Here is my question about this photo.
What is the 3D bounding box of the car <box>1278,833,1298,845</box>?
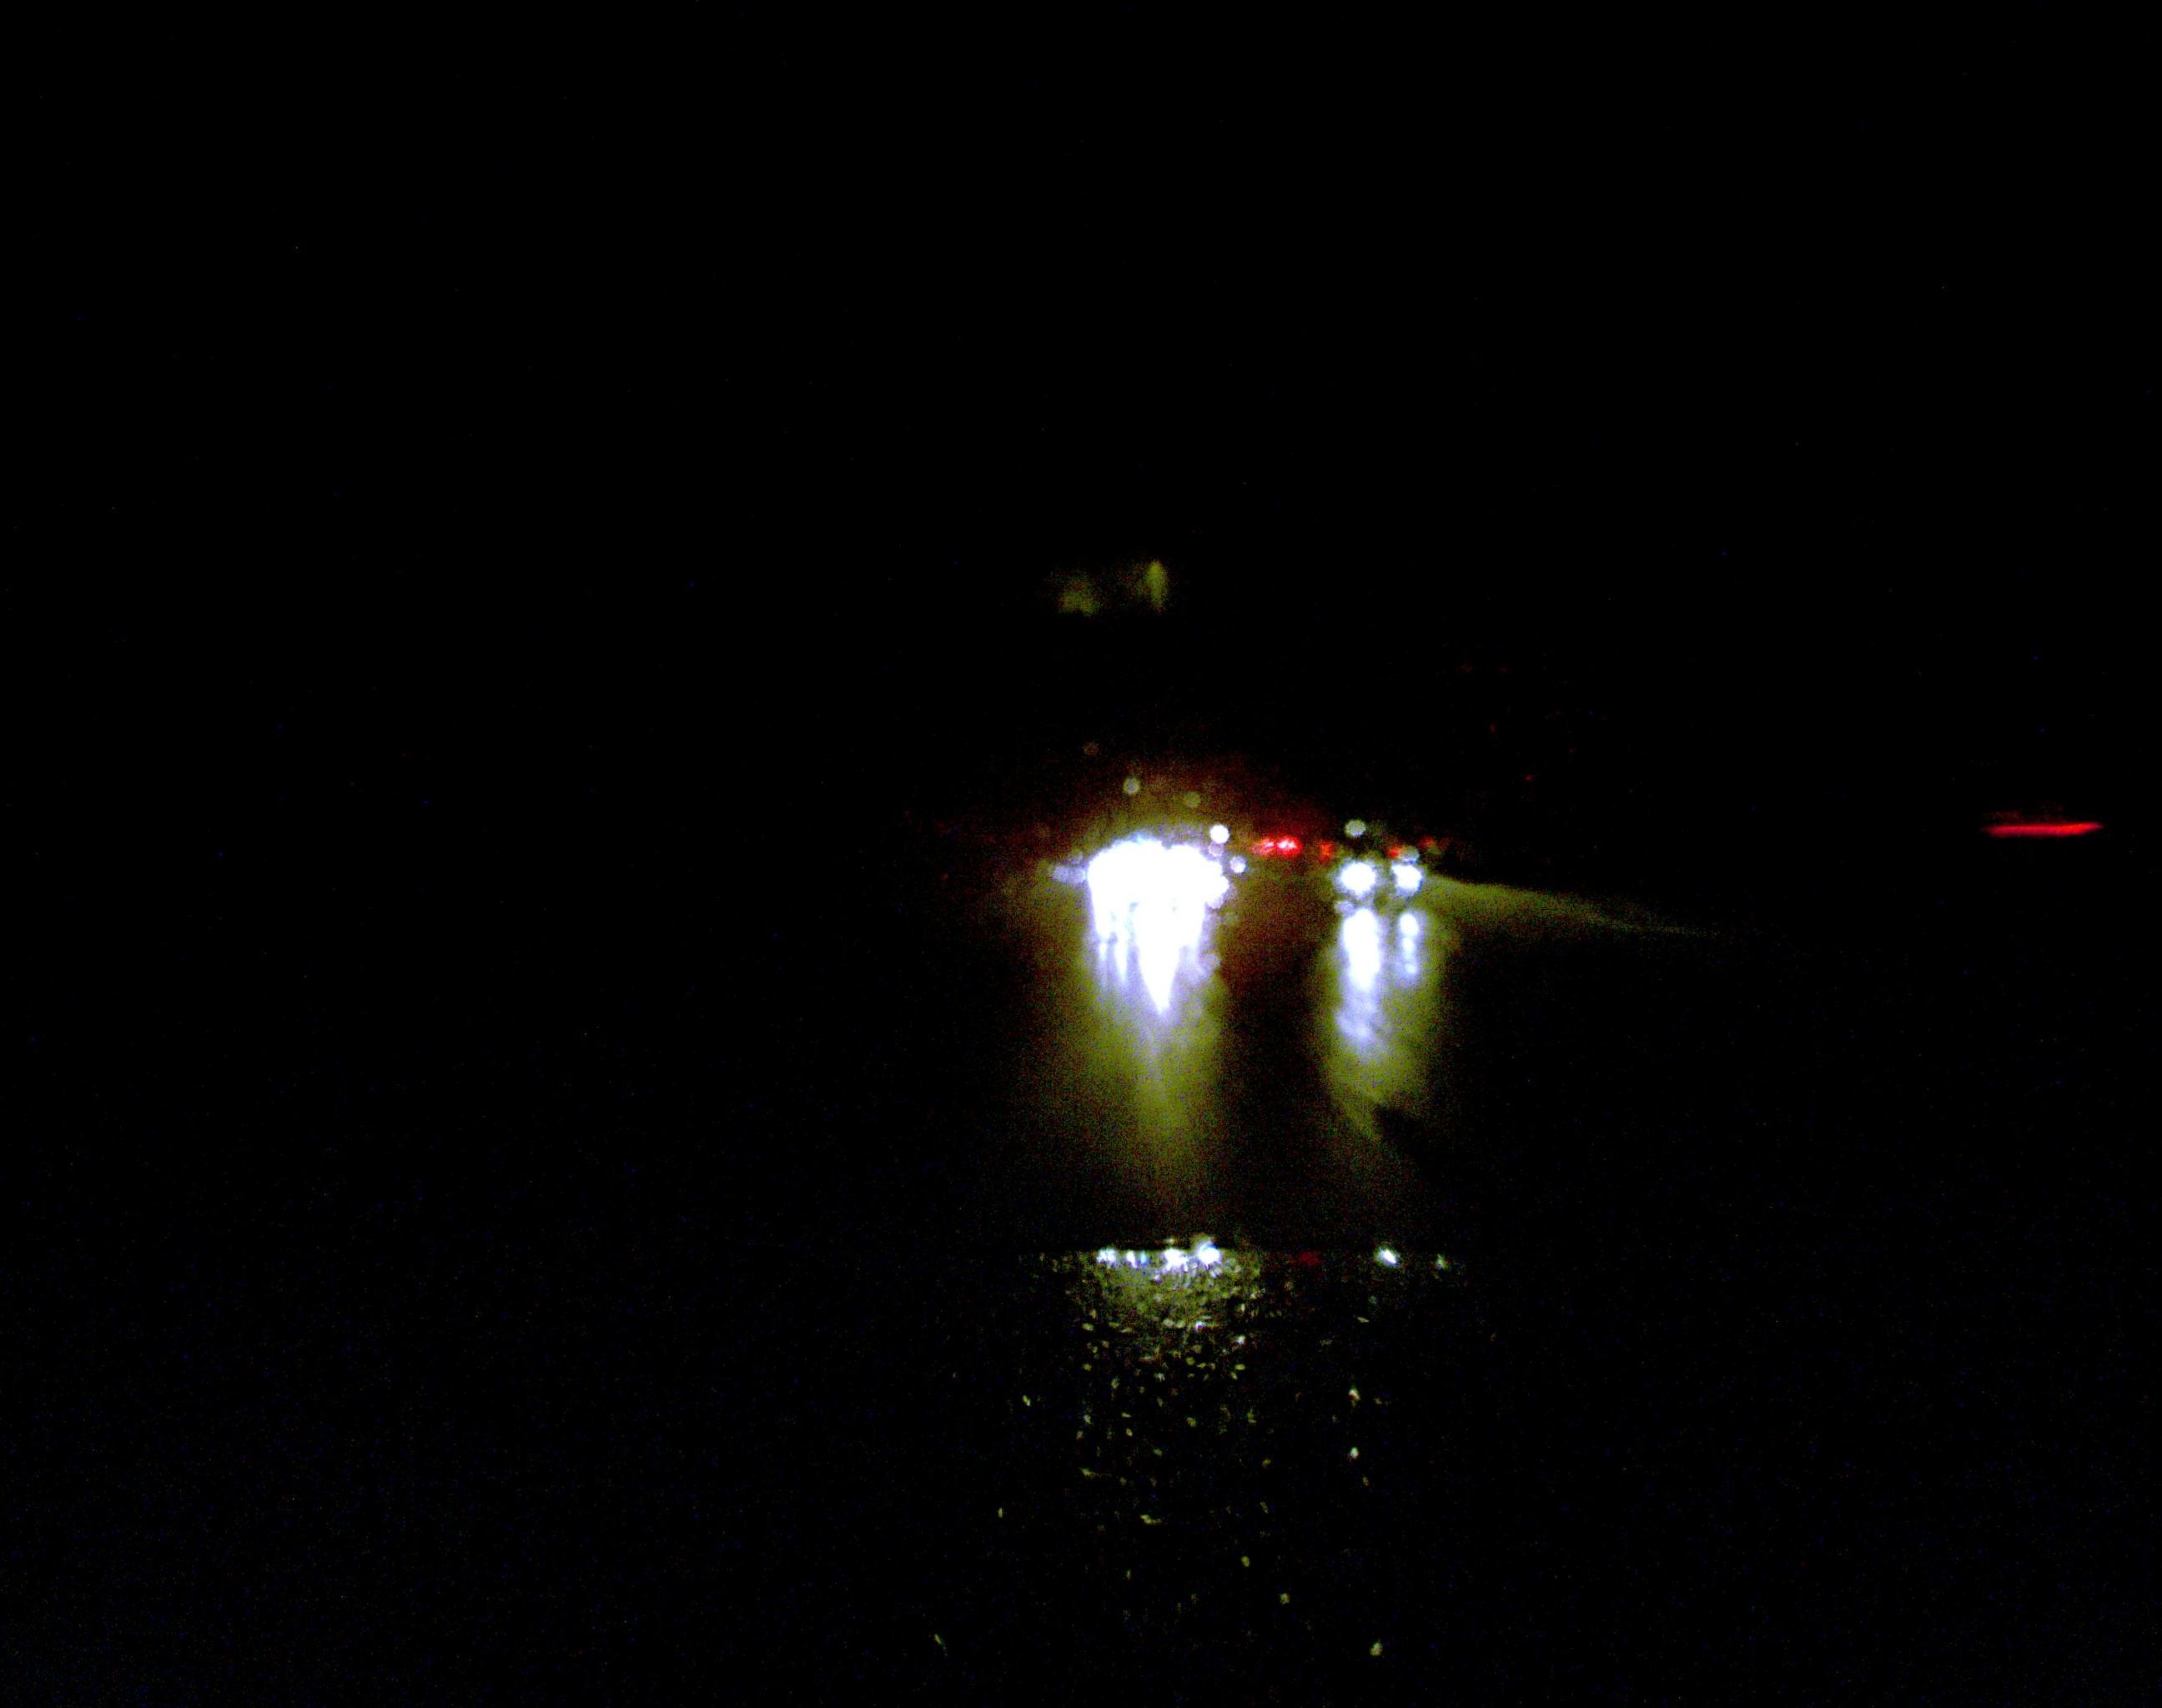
[{"bbox_3d":[29.572,-2.153,108.429,1.846,1.638,4.333,-3,1,3],"label":"car"}]

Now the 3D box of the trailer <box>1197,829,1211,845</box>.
[{"bbox_3d":[35.567,-4.821,220.221,3.362,4.149,11.724,-3,0,6],"label":"trailer"}]

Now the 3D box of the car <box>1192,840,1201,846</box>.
[{"bbox_3d":[32.016,-2.950,210.375,1.886,1.500,4.307,-3,1,4],"label":"car"}]

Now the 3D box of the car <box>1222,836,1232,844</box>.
[{"bbox_3d":[35.636,-3.396,185.125,1.895,1.899,4.845,-3,1,6],"label":"car"}]

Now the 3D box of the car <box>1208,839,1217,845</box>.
[{"bbox_3d":[34.807,-3.154,201.148,1.843,1.386,4.168,-3,0,4],"label":"car"}]

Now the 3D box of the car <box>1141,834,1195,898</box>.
[{"bbox_3d":[3.080,0.391,27.448,1.753,2.093,4.464,-2,0,5],"label":"car"}]

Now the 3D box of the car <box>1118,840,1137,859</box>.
[{"bbox_3d":[5.246,-0.535,86.040,1.998,2.002,4.000,-3,1,3],"label":"car"}]

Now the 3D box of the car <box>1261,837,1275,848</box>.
[{"bbox_3d":[31.509,-1.933,128.188,1.812,1.602,4.201,-3,-1,7],"label":"car"}]

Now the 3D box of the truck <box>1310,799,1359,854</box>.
[{"bbox_3d":[21.791,-2.348,65.647,2.570,4.379,5.852,-3,1,6],"label":"truck"}]

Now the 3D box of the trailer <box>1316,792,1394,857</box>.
[{"bbox_3d":[21.111,-2.215,59.439,2.580,4.432,12.495,-3,1,6],"label":"trailer"}]

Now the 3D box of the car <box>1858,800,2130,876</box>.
[{"bbox_3d":[23.019,-0.396,19.465,1.902,1.634,4.195,-3,1,-1],"label":"car"}]

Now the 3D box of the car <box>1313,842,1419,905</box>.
[{"bbox_3d":[7.857,0.498,21.314,1.653,1.566,3.850,-1,0,3],"label":"car"}]

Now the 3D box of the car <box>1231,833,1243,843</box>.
[{"bbox_3d":[33.367,-3.424,162.959,1.991,1.899,5.137,-3,1,6],"label":"car"}]

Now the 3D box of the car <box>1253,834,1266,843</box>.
[{"bbox_3d":[33.581,-2.891,142.960,1.767,1.487,3.804,-3,1,6],"label":"car"}]

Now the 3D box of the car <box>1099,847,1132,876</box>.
[{"bbox_3d":[2.259,0.442,48.258,1.892,1.603,4.000,-3,1,5],"label":"car"}]

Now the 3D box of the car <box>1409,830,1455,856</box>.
[{"bbox_3d":[25.346,-0.761,54.938,1.997,1.718,4.003,-3,1,10],"label":"car"}]
